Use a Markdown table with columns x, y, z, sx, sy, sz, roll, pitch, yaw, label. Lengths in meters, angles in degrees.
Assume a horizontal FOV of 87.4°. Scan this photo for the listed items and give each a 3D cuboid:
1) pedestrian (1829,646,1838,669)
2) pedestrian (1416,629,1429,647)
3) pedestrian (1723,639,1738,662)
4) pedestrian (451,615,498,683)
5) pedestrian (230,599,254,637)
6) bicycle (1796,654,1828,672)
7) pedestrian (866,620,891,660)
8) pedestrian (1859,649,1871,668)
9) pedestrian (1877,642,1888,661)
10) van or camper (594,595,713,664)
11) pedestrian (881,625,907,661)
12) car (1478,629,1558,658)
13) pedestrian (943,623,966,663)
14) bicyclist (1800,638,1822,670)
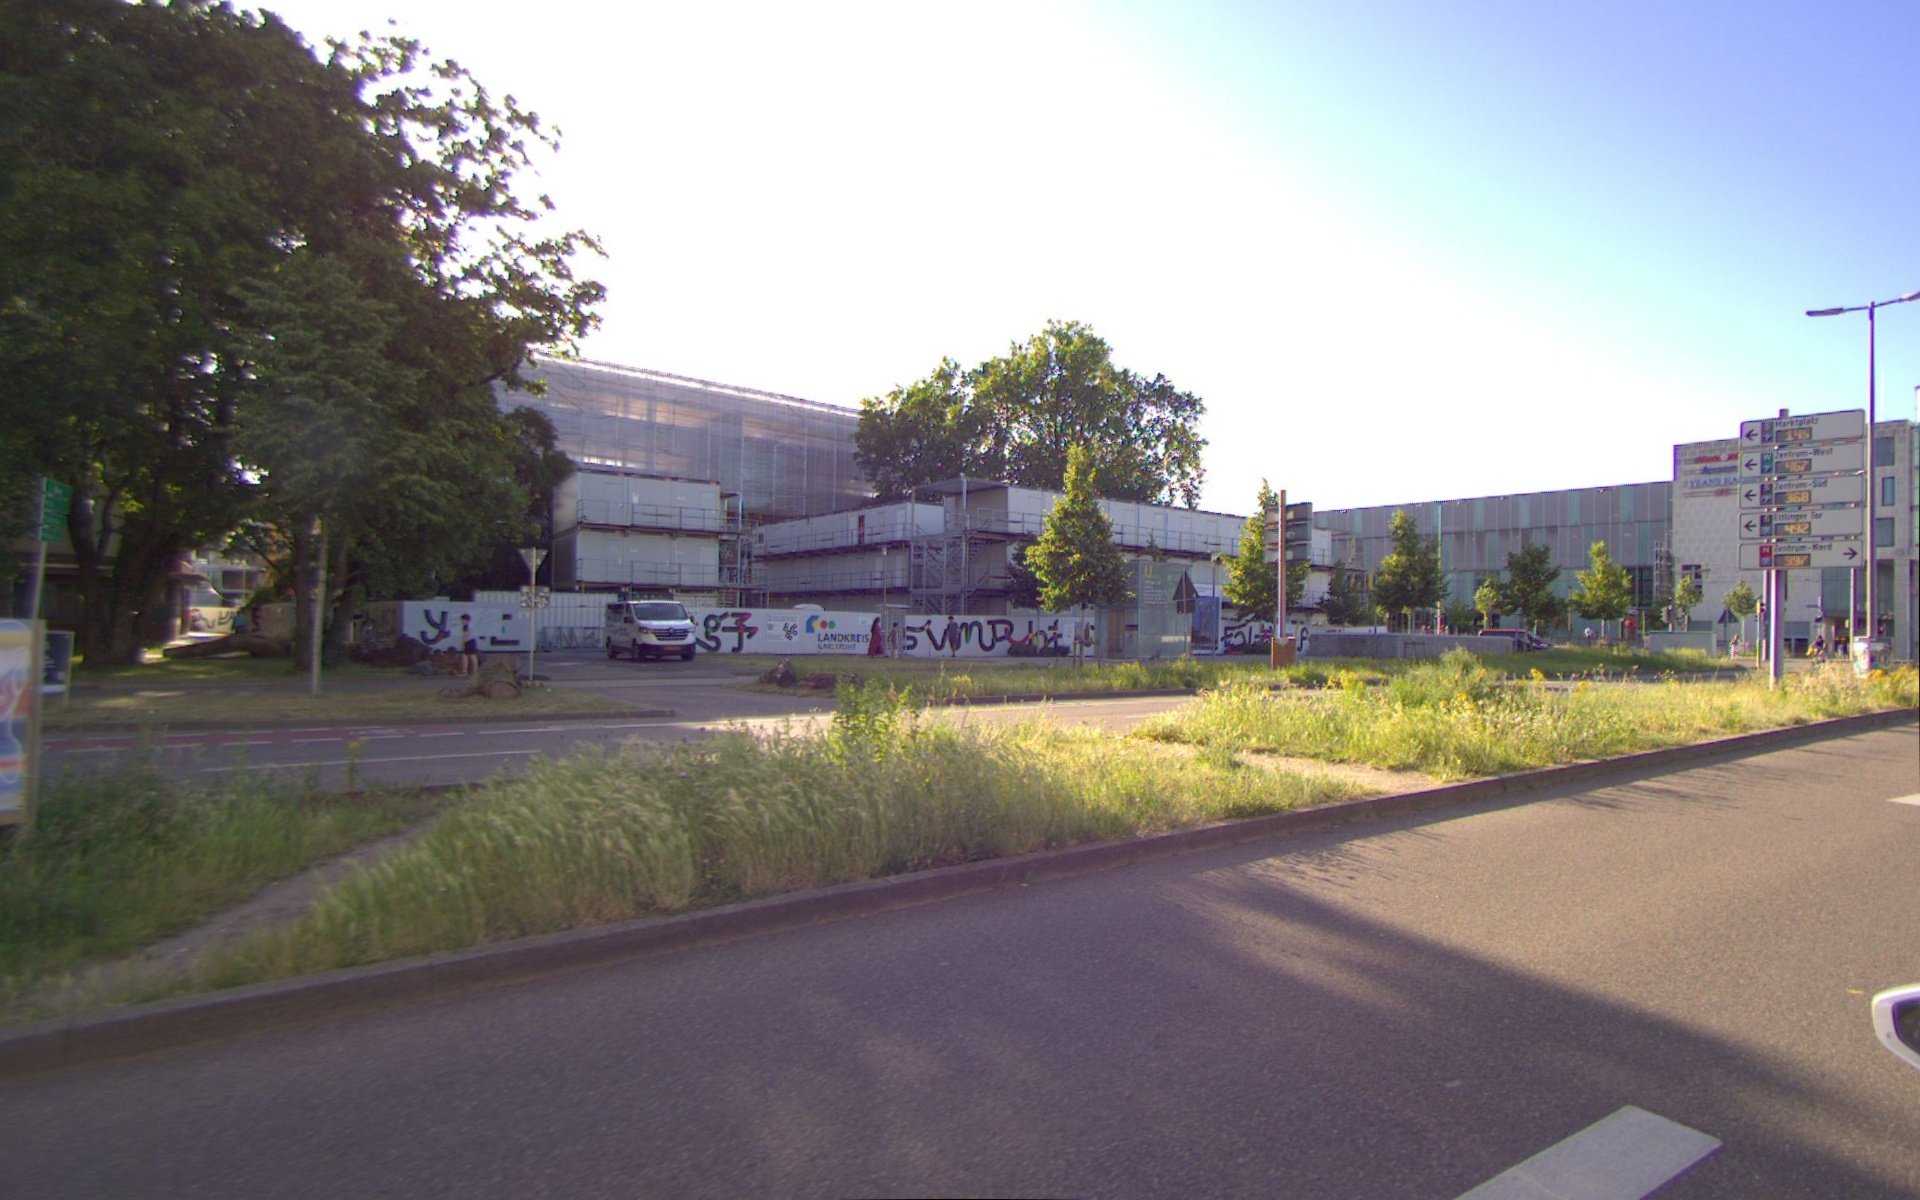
| x | y | z | sx | sy | sz | roll | pitch | yaw | label |
| --- | --- | --- | --- | --- | --- | --- | --- | --- | --- |
| 78.476 | 5.177 | 90.234 | 0.512 | 2.040 | 0.617 | 2 | -2 | -43 | pedestrian |
| 39.514 | 3.216 | 85.738 | 0.719 | 1.522 | 0.793 | 2 | -2 | -43 | pedestrian |
| 51.901 | 3.428 | 67.643 | 0.798 | 1.522 | 0.715 | 3 | -2 | -44 | pedestrian |
| -11.309 | 1.129 | 23.400 | 0.931 | 1.548 | 0.610 | 2 | -1 | -30 | pedestrian |
| -32.009 | 0.793 | 44.798 | 0.736 | 1.662 | 0.720 | 2 | -1 | -30 | pedestrian |
| 41.835 | 3.100 | 49.314 | 1.928 | 0.873 | 0.609 | 2 | -1 | -30 | bicycle |
| -3.234 | 1.583 | 39.889 | 0.828 | 1.578 | 0.575 | 2 | -1 | -37 | pedestrian |
| 79.074 | 5.106 | 87.762 | 0.647 | 1.629 | 0.618 | 2 | -1 | -36 | pedestrian |
| 79.816 | 4.472 | 86.899 | 0.647 | 1.629 | 0.618 | 2 | -1 | -36 | pedestrian |
| -10.385 | 1.017 | 33.676 | 2.234 | 2.039 | 5.630 | 4 | -4 | -33 | van or camper |
| -2.575 | 1.674 | 39.376 | 0.828 | 1.396 | 0.575 | 2 | -1 | -37 | pedestrian |
| 39.149 | 3.039 | 70.539 | 1.859 | 1.833 | 4.597 | 5 | -4 | -42 | car |
| -0.235 | 1.856 | 43.668 | 0.828 | 1.711 | 0.575 | 2 | -1 | -37 | pedestrian |
| 41.718 | 2.645 | 49.236 | 0.673 | 1.508 | 0.604 | 2 | -1 | -30 | bicyclist |
